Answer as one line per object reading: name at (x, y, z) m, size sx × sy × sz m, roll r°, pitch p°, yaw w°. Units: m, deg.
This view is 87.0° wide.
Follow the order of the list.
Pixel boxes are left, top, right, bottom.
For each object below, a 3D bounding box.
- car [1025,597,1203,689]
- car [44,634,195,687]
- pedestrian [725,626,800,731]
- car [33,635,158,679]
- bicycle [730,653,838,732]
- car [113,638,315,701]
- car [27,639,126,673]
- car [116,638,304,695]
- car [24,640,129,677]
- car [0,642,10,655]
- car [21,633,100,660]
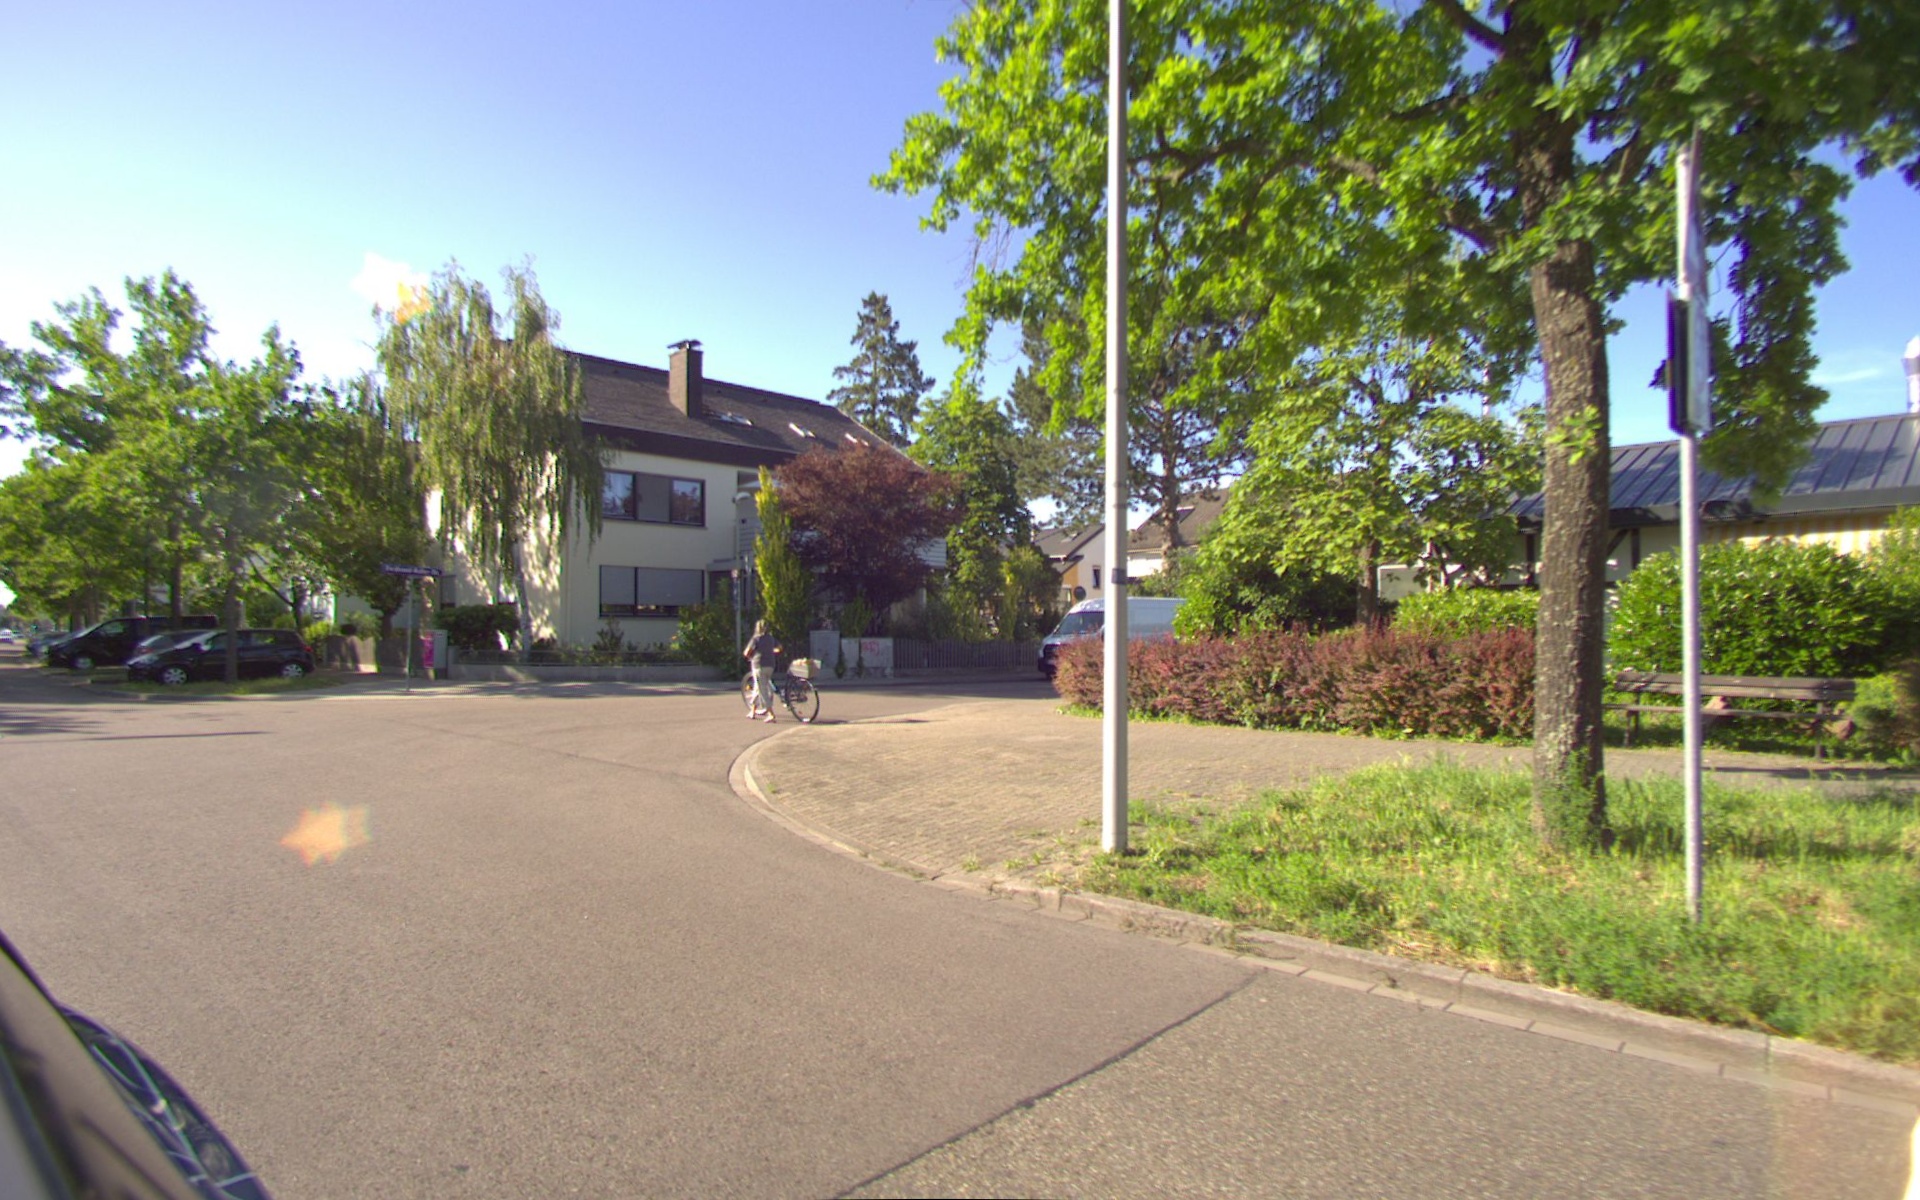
car at (4.642, 1.258, 29.849) m, size 5.732 × 2.472 × 2.003 m, roll 2°, pitch -3°, yaw -41°
car at (-30.138, 2.126, 36.356) m, size 3.979 × 1.791 × 1.942 m, roll 2°, pitch -3°, yaw -45°
pedestrian at (-3.069, 1.192, 15.727) m, size 0.866 × 1.554 × 0.719 m, roll 1°, pitch -1°, yaw 37°
car at (-37.348, 2.413, 43.781) m, size 3.979 × 1.791 × 1.942 m, roll 2°, pitch -3°, yaw -45°
bicycle at (-2.801, 1.428, 15.984) m, size 1.891 × 1.096 × 0.632 m, roll 1°, pitch -1°, yaw 43°
car at (-19.333, 1.734, 26.316) m, size 3.979 × 1.490 × 1.942 m, roll 2°, pitch -3°, yaw -45°
car at (-48.913, 3.056, 56.084) m, size 3.979 × 1.791 × 1.942 m, roll 2°, pitch -3°, yaw -45°
car at (-21.346, 1.850, 28.917) m, size 1.940 × 1.490 × 3.984 m, roll -2°, pitch -3°, yaw 40°
car at (-45.983, 3.005, 52.693) m, size 3.979 × 1.791 × 1.942 m, roll 2°, pitch -3°, yaw -45°
car at (-132.136, 6.629, 139.271) m, size 1.912 × 1.791 × 4.042 m, roll 2°, pitch -3°, yaw -44°
car at (-62.626, 3.233, 70.459) m, size 3.979 × 1.791 × 1.942 m, roll 2°, pitch -3°, yaw -45°
